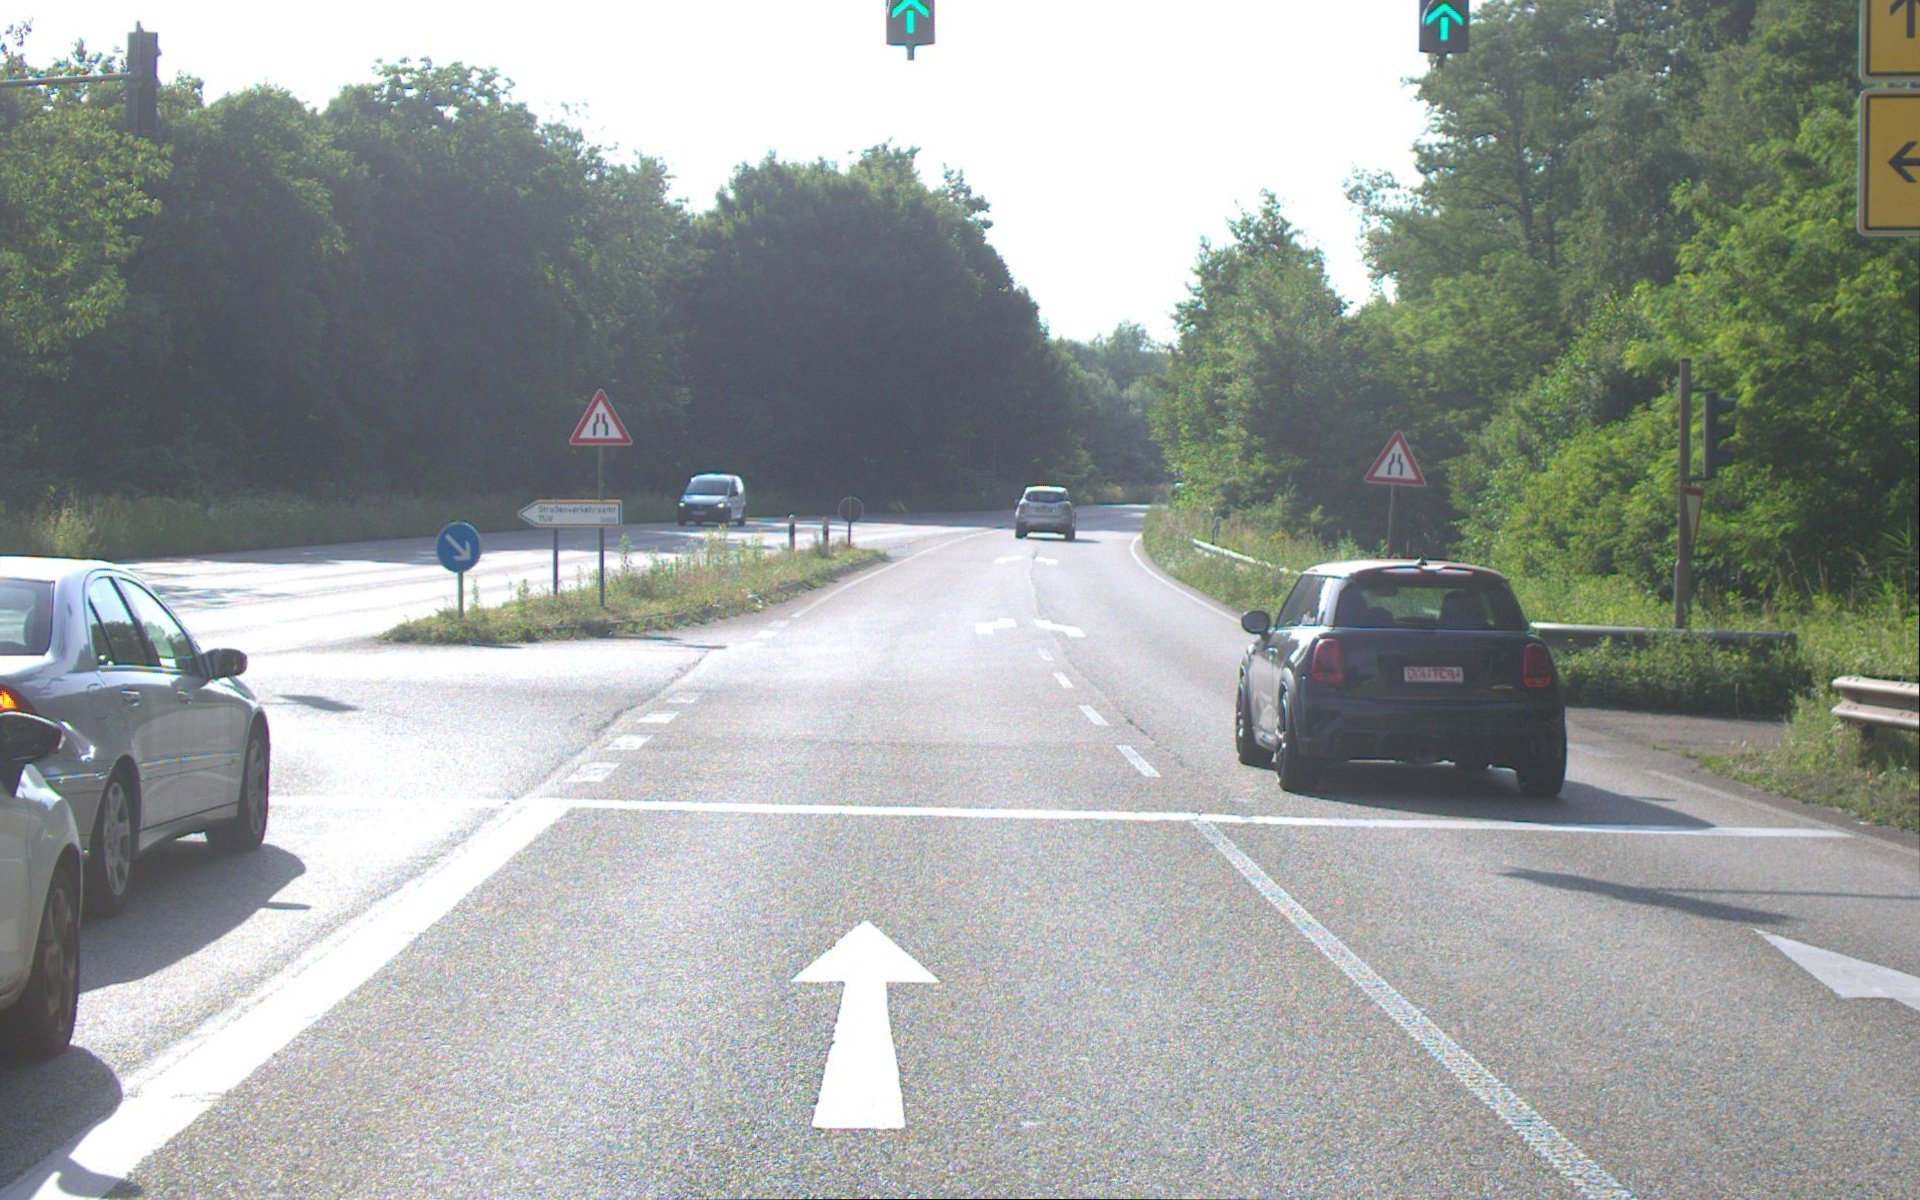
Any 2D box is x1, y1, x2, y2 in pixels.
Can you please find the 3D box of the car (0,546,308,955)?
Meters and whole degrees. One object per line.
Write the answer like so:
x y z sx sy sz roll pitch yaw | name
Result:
-4.067 0.491 14.401 1.735 1.416 4.802 0 1 0 | car

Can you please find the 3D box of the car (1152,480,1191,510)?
11.660 -5.789 190.036 1.744 1.532 3.926 2 1 -2 | car

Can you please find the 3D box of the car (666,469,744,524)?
-8.830 -3.577 119.494 1.851 1.780 4.669 2 1 6 | car

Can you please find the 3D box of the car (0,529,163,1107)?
-3.291 0.568 8.544 1.645 1.484 4.104 0 1 0 | car

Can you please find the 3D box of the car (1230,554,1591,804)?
2.830 0.443 22.382 1.819 1.462 3.873 1 1 0 | car

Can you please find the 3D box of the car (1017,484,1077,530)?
2.833 -3.007 111.341 1.761 1.375 3.971 2 1 3 | car
